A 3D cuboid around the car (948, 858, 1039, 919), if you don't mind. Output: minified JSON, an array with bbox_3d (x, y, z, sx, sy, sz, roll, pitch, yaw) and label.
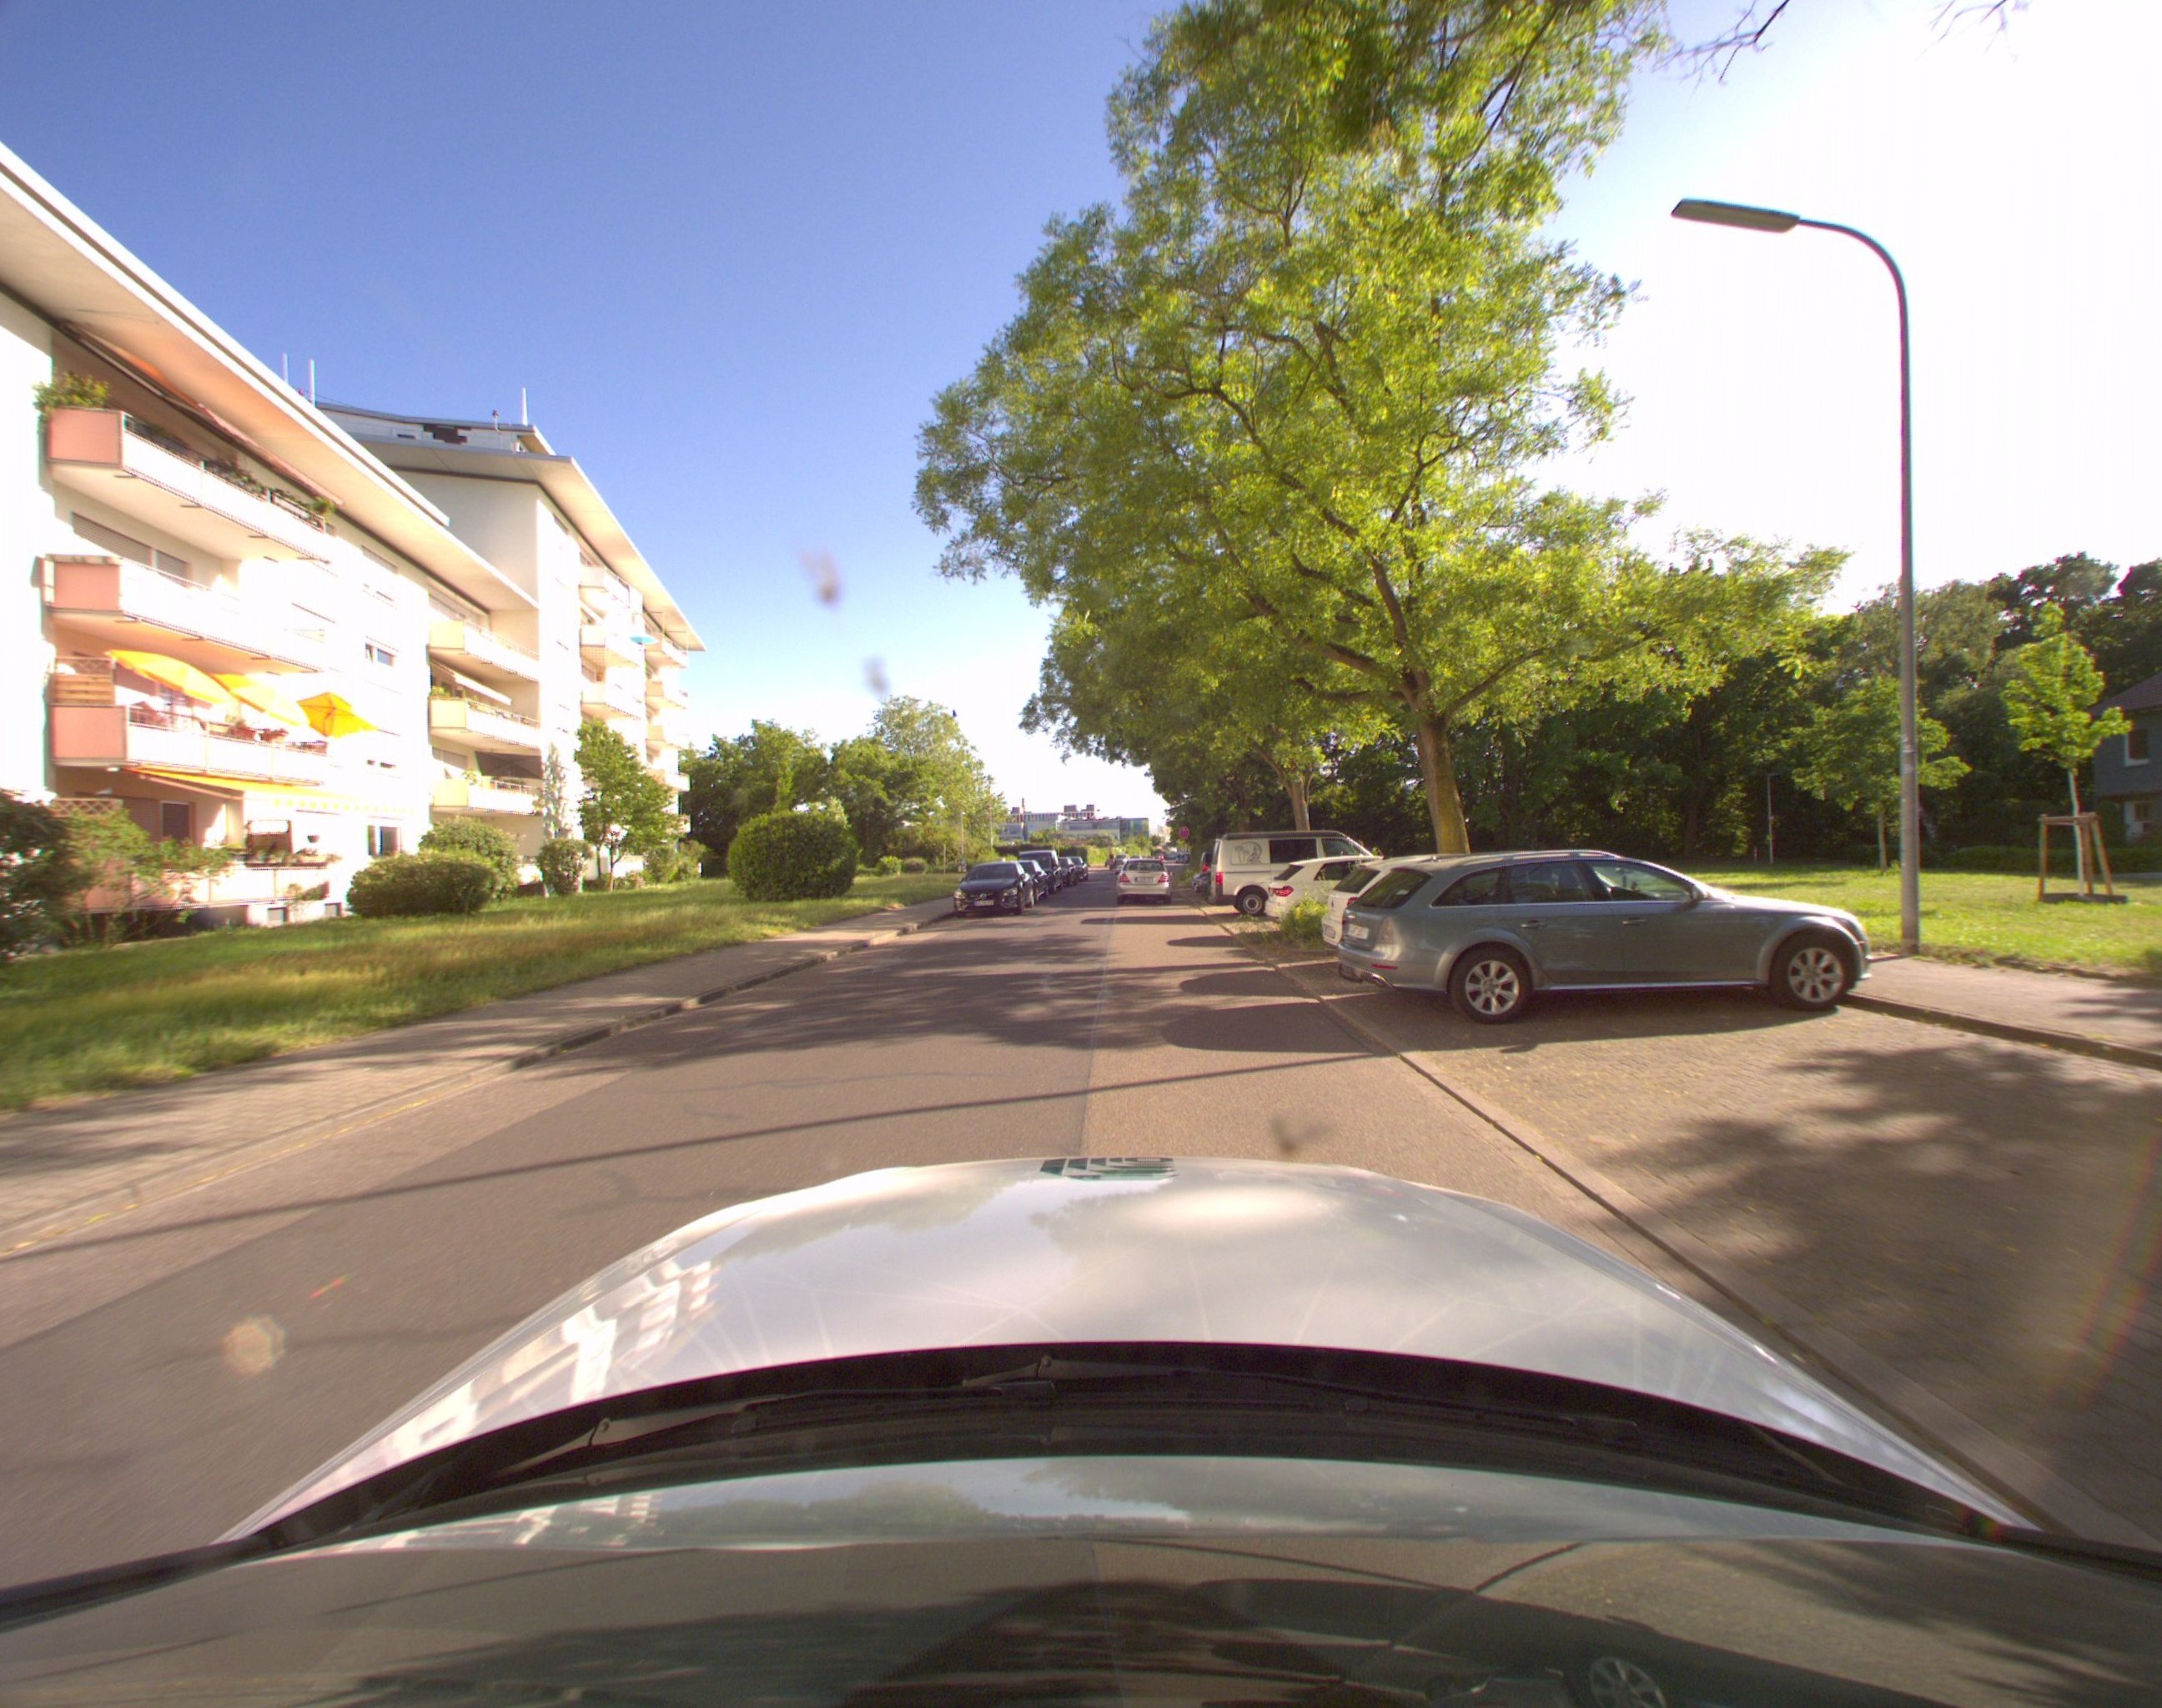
[{"bbox_3d":[-2.403,0.908,23.602,1.832,1.481,4.804,-3,0,3],"label":"car"}]

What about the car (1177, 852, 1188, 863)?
[{"bbox_3d":[15.354,0.529,123.290,1.546,1.538,3.565,1,0,10],"label":"car"}]

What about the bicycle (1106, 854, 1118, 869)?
[{"bbox_3d":[2.915,0.696,75.760,0.847,1.370,3.225,-1,0,6],"label":"bicycle"}]

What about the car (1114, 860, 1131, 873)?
[{"bbox_3d":[5.480,1.643,106.541,1.632,1.600,4.325,0,0,12],"label":"car"}]

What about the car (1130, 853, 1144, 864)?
[{"bbox_3d":[8.579,0.642,123.849,1.633,1.556,4.429,-2,0,10],"label":"car"}]

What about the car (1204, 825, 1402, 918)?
[{"bbox_3d":[5.409,0.416,20.368,4.430,2.016,2.024,-3,0,5],"label":"car"}]

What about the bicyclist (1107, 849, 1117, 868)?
[{"bbox_3d":[2.871,0.418,75.423,0.840,1.658,1.066,-1,0,6],"label":"bicyclist"}]

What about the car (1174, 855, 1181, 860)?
[{"bbox_3d":[27.870,1.026,234.410,1.843,1.428,4.145,0,0,10],"label":"car"}]

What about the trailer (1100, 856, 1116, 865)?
[{"bbox_3d":[3.227,0.761,96.657,1.534,0.953,2.656,0,0,12],"label":"trailer"}]

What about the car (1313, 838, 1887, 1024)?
[{"bbox_3d":[4.762,0.673,7.980,4.463,1.471,1.746,-2,0,1],"label":"car"}]

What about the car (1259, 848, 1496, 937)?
[{"bbox_3d":[5.414,0.696,15.298,3.886,1.435,1.639,-2,0,7],"label":"car"}]

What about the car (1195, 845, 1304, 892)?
[{"bbox_3d":[6.762,0.568,33.041,4.127,1.695,1.778,-2,0,6],"label":"car"}]

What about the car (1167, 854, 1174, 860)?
[{"bbox_3d":[22.530,0.654,205.276,1.550,1.495,3.768,-2,0,10],"label":"car"}]

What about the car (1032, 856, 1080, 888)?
[{"bbox_3d":[-1.231,0.875,41.851,1.830,1.454,4.026,-3,0,7],"label":"car"}]

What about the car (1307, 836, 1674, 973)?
[{"bbox_3d":[5.127,0.618,10.620,3.889,1.435,1.638,-4,0,4],"label":"car"}]

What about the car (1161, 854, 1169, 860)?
[{"bbox_3d":[19.522,0.708,188.449,1.550,1.495,3.580,1,0,10],"label":"car"}]

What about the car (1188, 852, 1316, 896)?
[{"bbox_3d":[6.312,0.733,30.370,4.432,1.414,1.776,-2,0,3],"label":"car"}]

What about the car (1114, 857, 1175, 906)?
[{"bbox_3d":[1.977,0.821,26.462,1.731,1.453,4.000,0,0,1],"label":"car"}]

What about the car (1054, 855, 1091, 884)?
[{"bbox_3d":[-0.467,0.856,48.063,1.719,1.463,4.688,-3,1,4],"label":"car"}]

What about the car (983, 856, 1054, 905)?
[{"bbox_3d":[-2.154,0.896,29.379,1.832,1.481,4.579,-4,0,4],"label":"car"}]

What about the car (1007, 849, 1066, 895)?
[{"bbox_3d":[-1.840,0.724,35.333,1.831,1.780,4.894,-3,0,4],"label":"car"}]

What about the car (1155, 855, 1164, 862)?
[{"bbox_3d":[16.374,0.906,170.488,1.550,1.495,3.580,-2,0,10],"label":"car"}]
